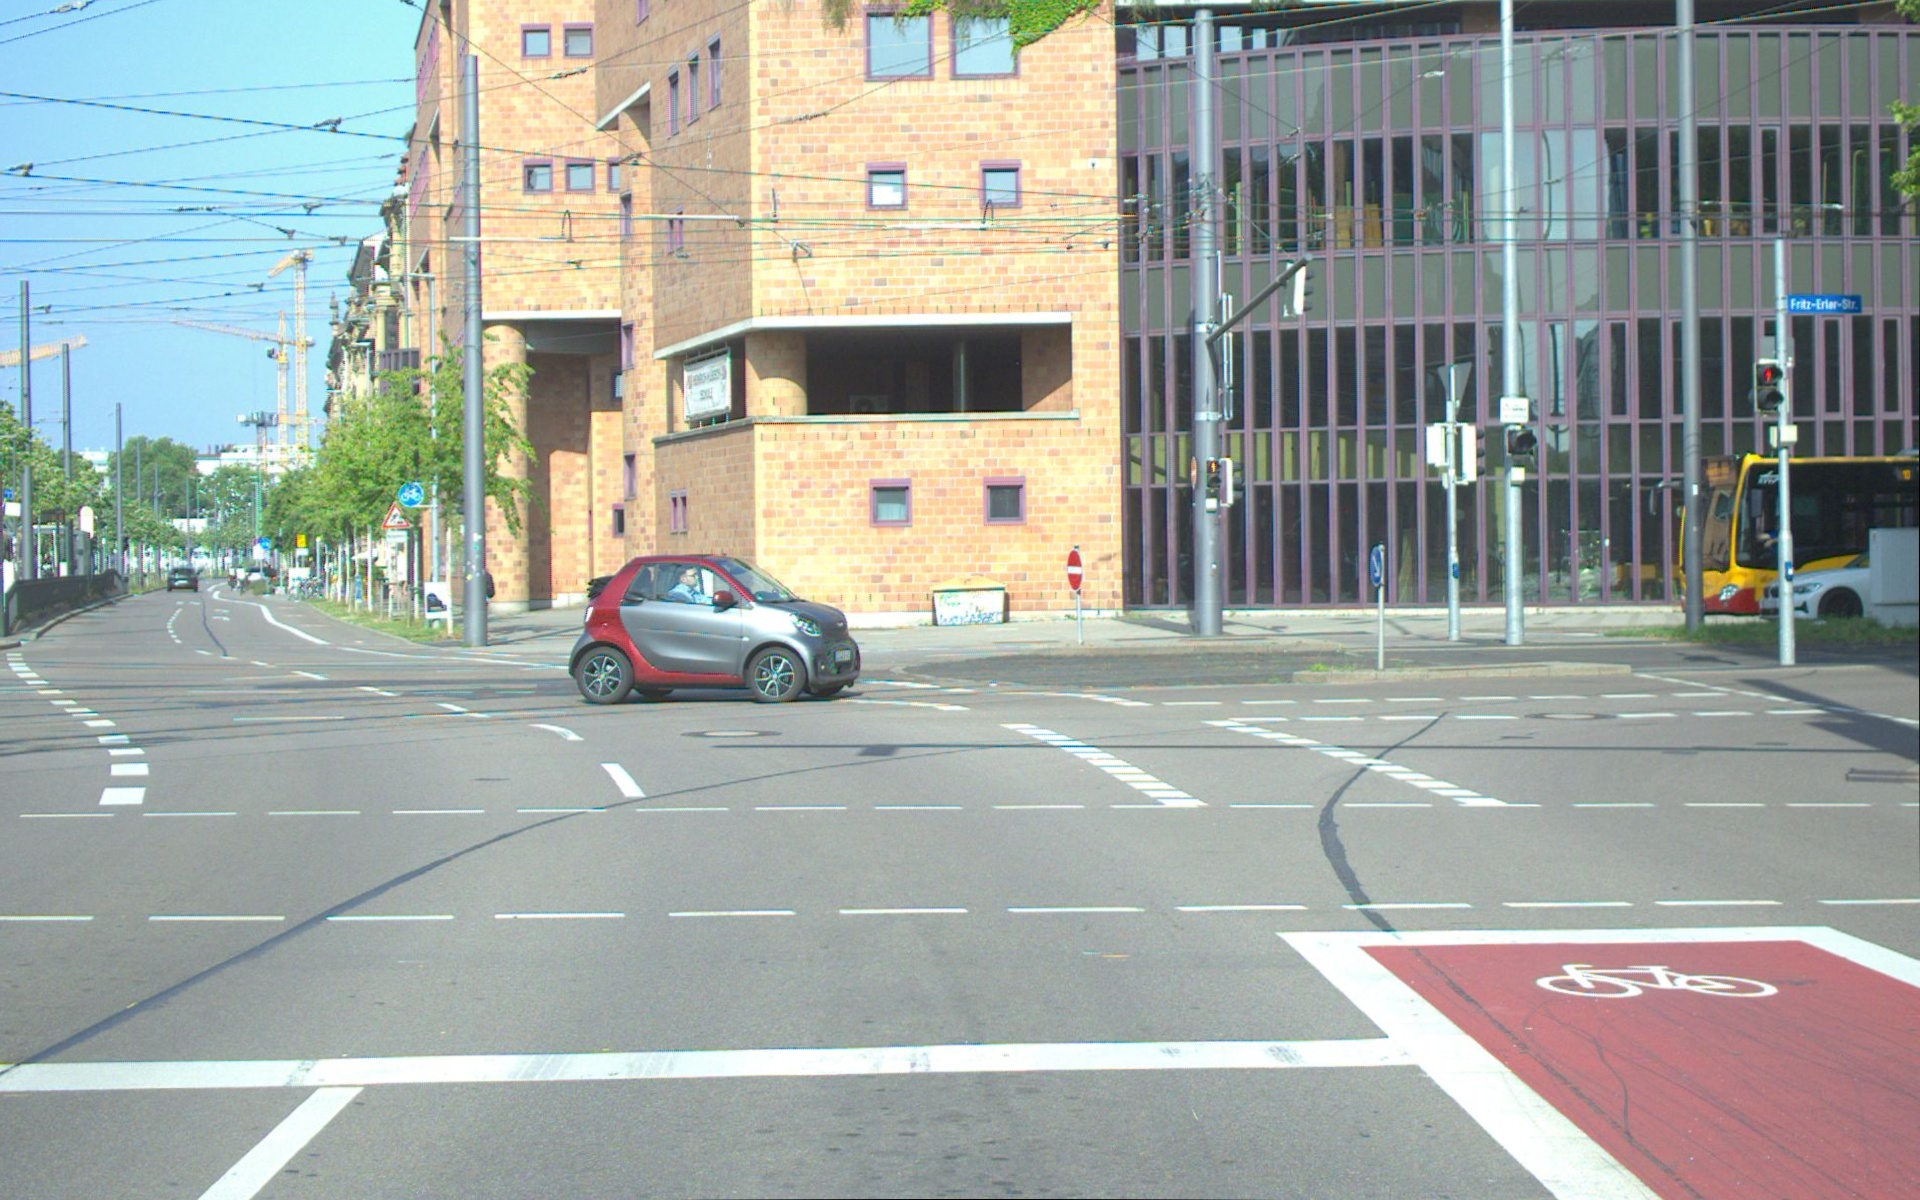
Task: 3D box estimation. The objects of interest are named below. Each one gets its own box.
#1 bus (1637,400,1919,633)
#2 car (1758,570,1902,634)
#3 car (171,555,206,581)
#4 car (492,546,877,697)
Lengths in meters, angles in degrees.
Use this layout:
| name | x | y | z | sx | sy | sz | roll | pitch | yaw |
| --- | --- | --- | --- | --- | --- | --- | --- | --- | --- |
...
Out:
| name | x | y | z | sx | sy | sz | roll | pitch | yaw |
| --- | --- | --- | --- | --- | --- | --- | --- | --- | --- |
| bus | 20.536 | -1.430 | 58.901 | 17.605 | 3.797 | 2.866 | -1 | -1 | -10 |
| car | 13.585 | 0.021 | 53.739 | 1.951 | 0.955 | 1.094 | -1 | 1 | -2 |
| car | -48.267 | -2.015 | 215.111 | 2.073 | 1.537 | 4.415 | -1 | -1 | -13 |
| car | -2.856 | 0.218 | 35.841 | 3.594 | 1.487 | 1.701 | -1 | 1 | 17 |
